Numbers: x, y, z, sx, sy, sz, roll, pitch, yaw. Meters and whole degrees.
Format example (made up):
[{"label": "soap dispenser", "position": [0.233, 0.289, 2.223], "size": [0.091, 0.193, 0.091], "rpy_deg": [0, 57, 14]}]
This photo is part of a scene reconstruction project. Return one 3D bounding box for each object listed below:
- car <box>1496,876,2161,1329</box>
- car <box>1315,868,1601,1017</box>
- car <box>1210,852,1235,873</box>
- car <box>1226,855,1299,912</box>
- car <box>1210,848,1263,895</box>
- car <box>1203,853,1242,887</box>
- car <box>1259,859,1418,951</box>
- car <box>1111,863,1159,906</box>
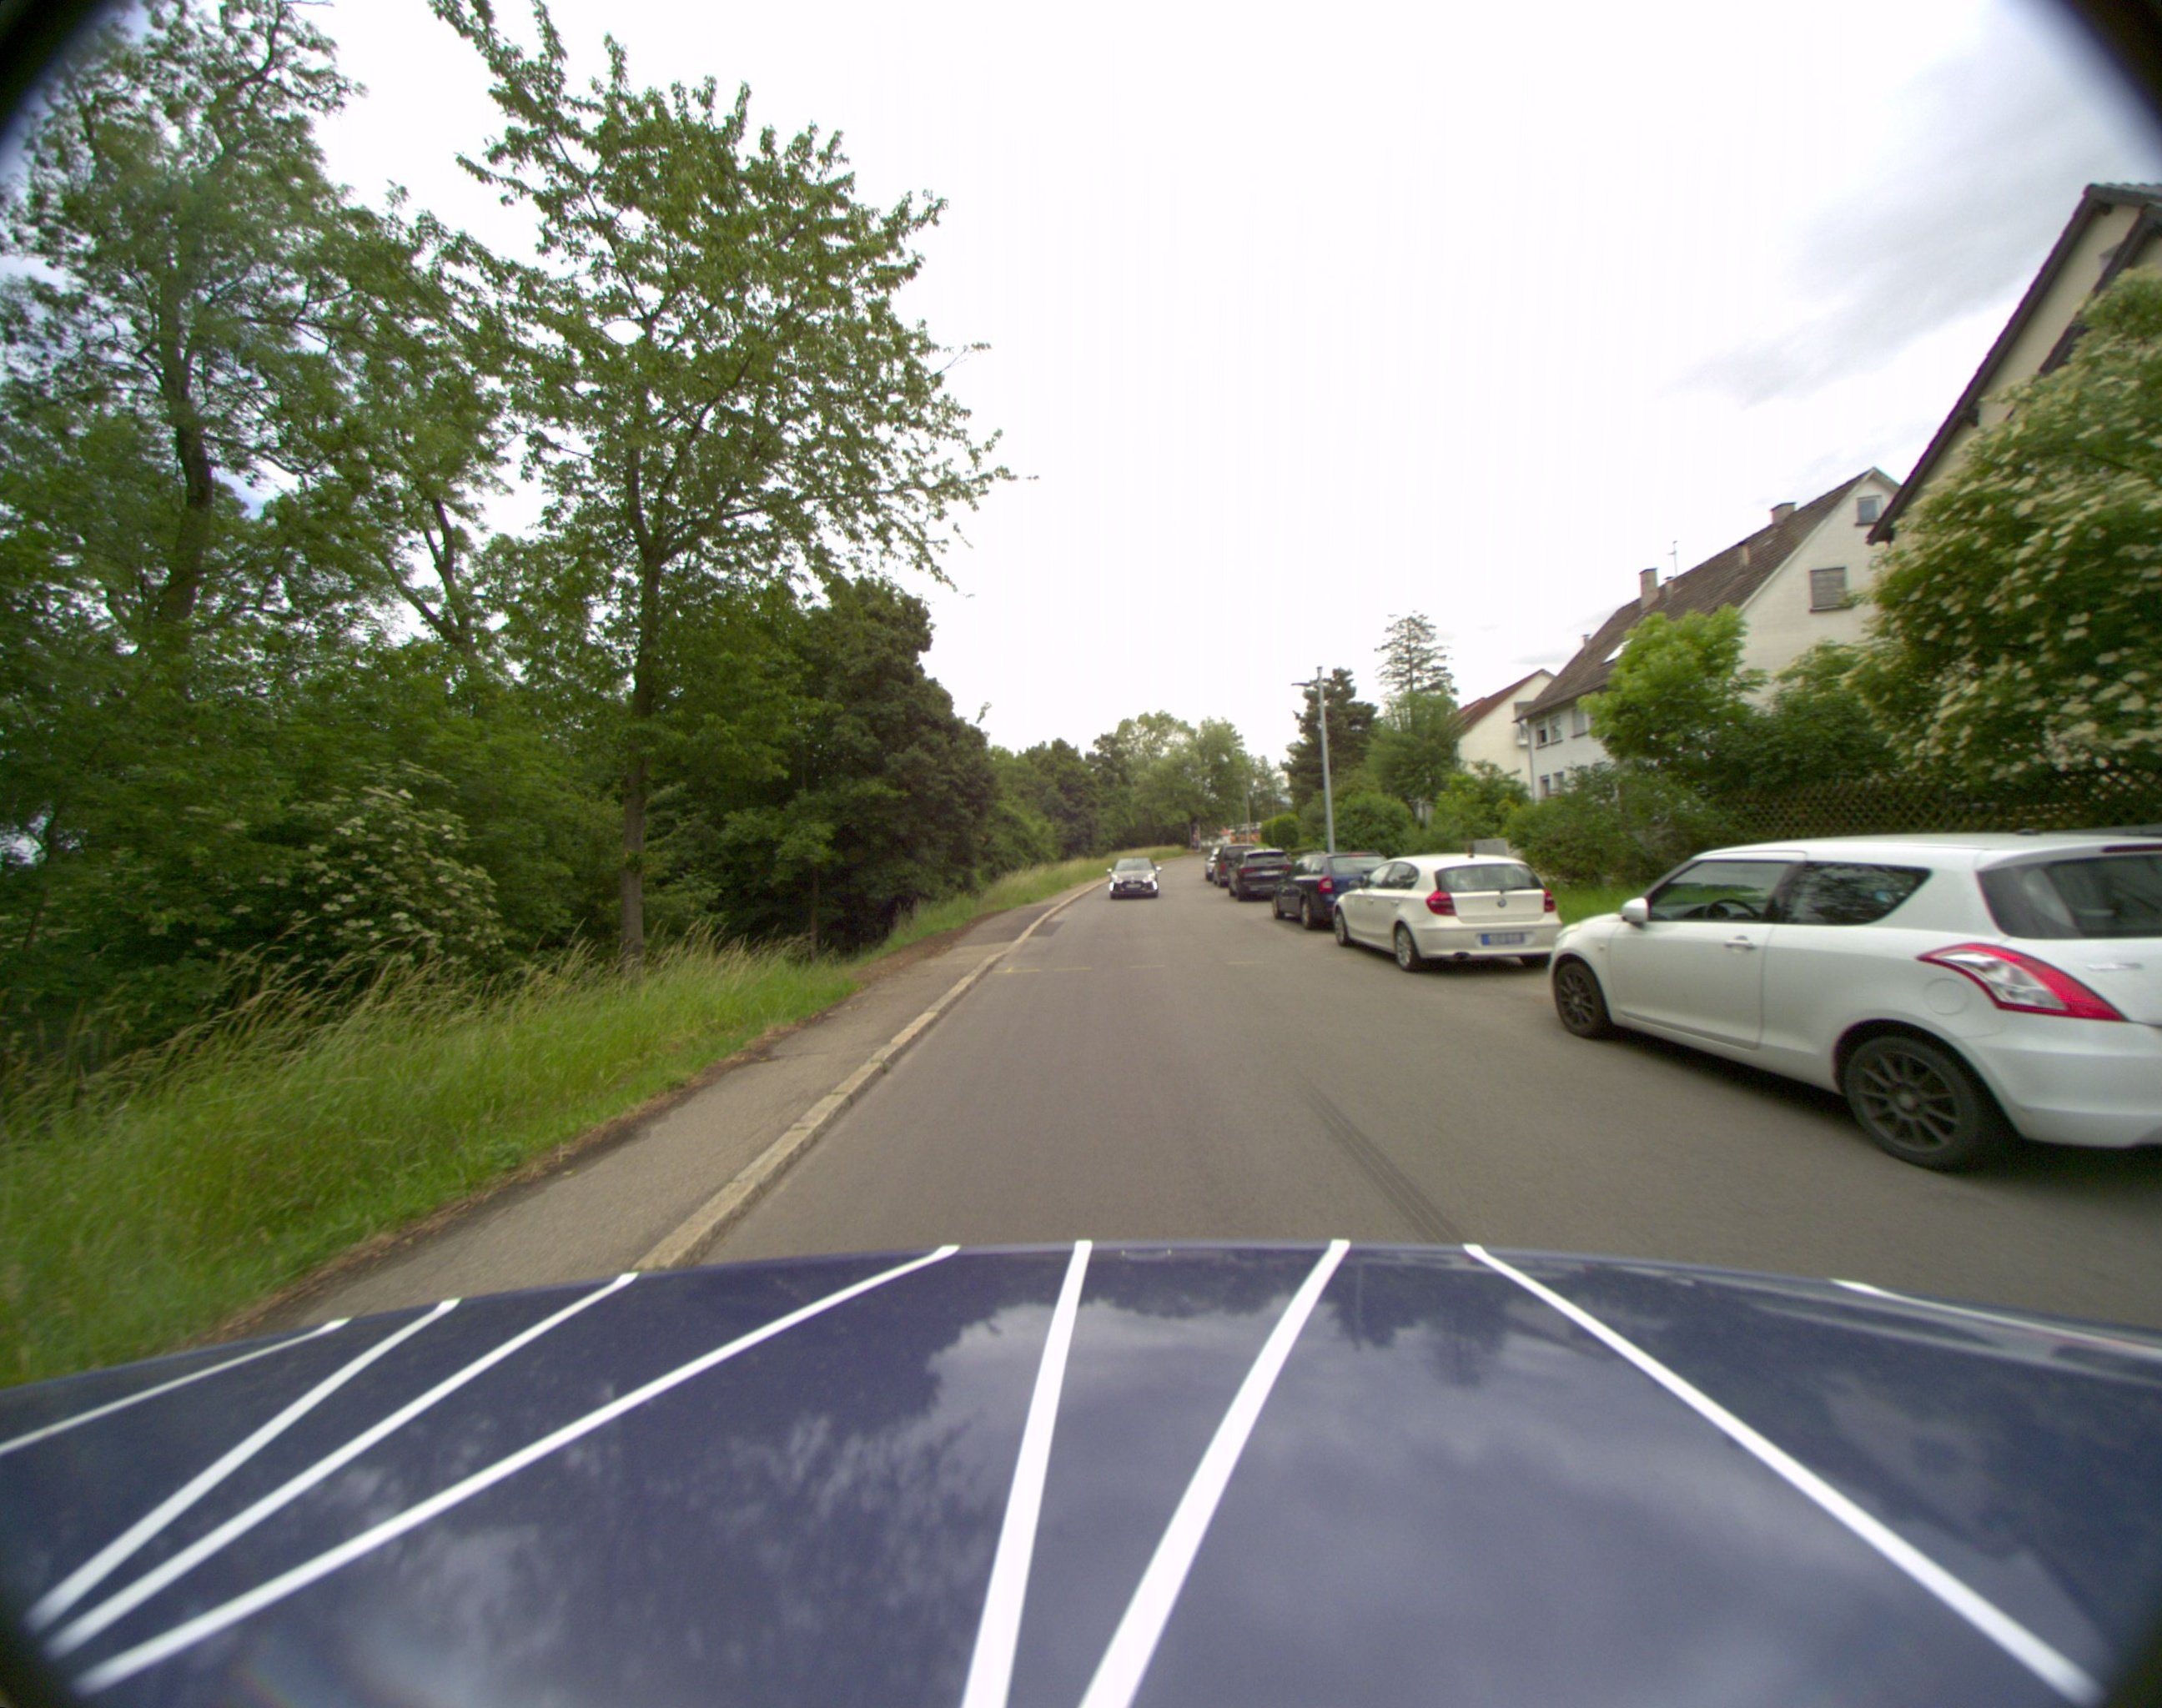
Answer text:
[{"label": "car", "position": [4.483, 0.938, 4.703], "size": [1.647, 1.461, 4.071], "rpy_deg": [-2, -1, 2]}, {"label": "car", "position": [4.749, 0.991, 10.483], "size": [1.729, 1.382, 4.726], "rpy_deg": [-2, 1, 2]}, {"label": "car", "position": [10.468, 0.598, 56.336], "size": [1.735, 1.420, 3.460], "rpy_deg": [-3, 1, 10]}, {"label": "car", "position": [5.724, 0.873, 24.378], "size": [1.665, 1.573, 4.078], "rpy_deg": [-2, 1, 6]}, {"label": "car", "position": [6.666, 0.704, 32.962], "size": [1.800, 1.790, 4.065], "rpy_deg": [-2, 1, 6]}, {"label": "car", "position": [7.090, 0.779, 38.288], "size": [1.665, 1.497, 4.046], "rpy_deg": [-2, 1, 8]}, {"label": "car", "position": [5.096, 0.919, 15.778], "size": [1.731, 1.564, 4.815], "rpy_deg": [-2, 0, 1]}, {"label": "car", "position": [2.053, 1.079, 28.186], "size": [1.619, 1.460, 4.002], "rpy_deg": [-2, -1, 6]}]
